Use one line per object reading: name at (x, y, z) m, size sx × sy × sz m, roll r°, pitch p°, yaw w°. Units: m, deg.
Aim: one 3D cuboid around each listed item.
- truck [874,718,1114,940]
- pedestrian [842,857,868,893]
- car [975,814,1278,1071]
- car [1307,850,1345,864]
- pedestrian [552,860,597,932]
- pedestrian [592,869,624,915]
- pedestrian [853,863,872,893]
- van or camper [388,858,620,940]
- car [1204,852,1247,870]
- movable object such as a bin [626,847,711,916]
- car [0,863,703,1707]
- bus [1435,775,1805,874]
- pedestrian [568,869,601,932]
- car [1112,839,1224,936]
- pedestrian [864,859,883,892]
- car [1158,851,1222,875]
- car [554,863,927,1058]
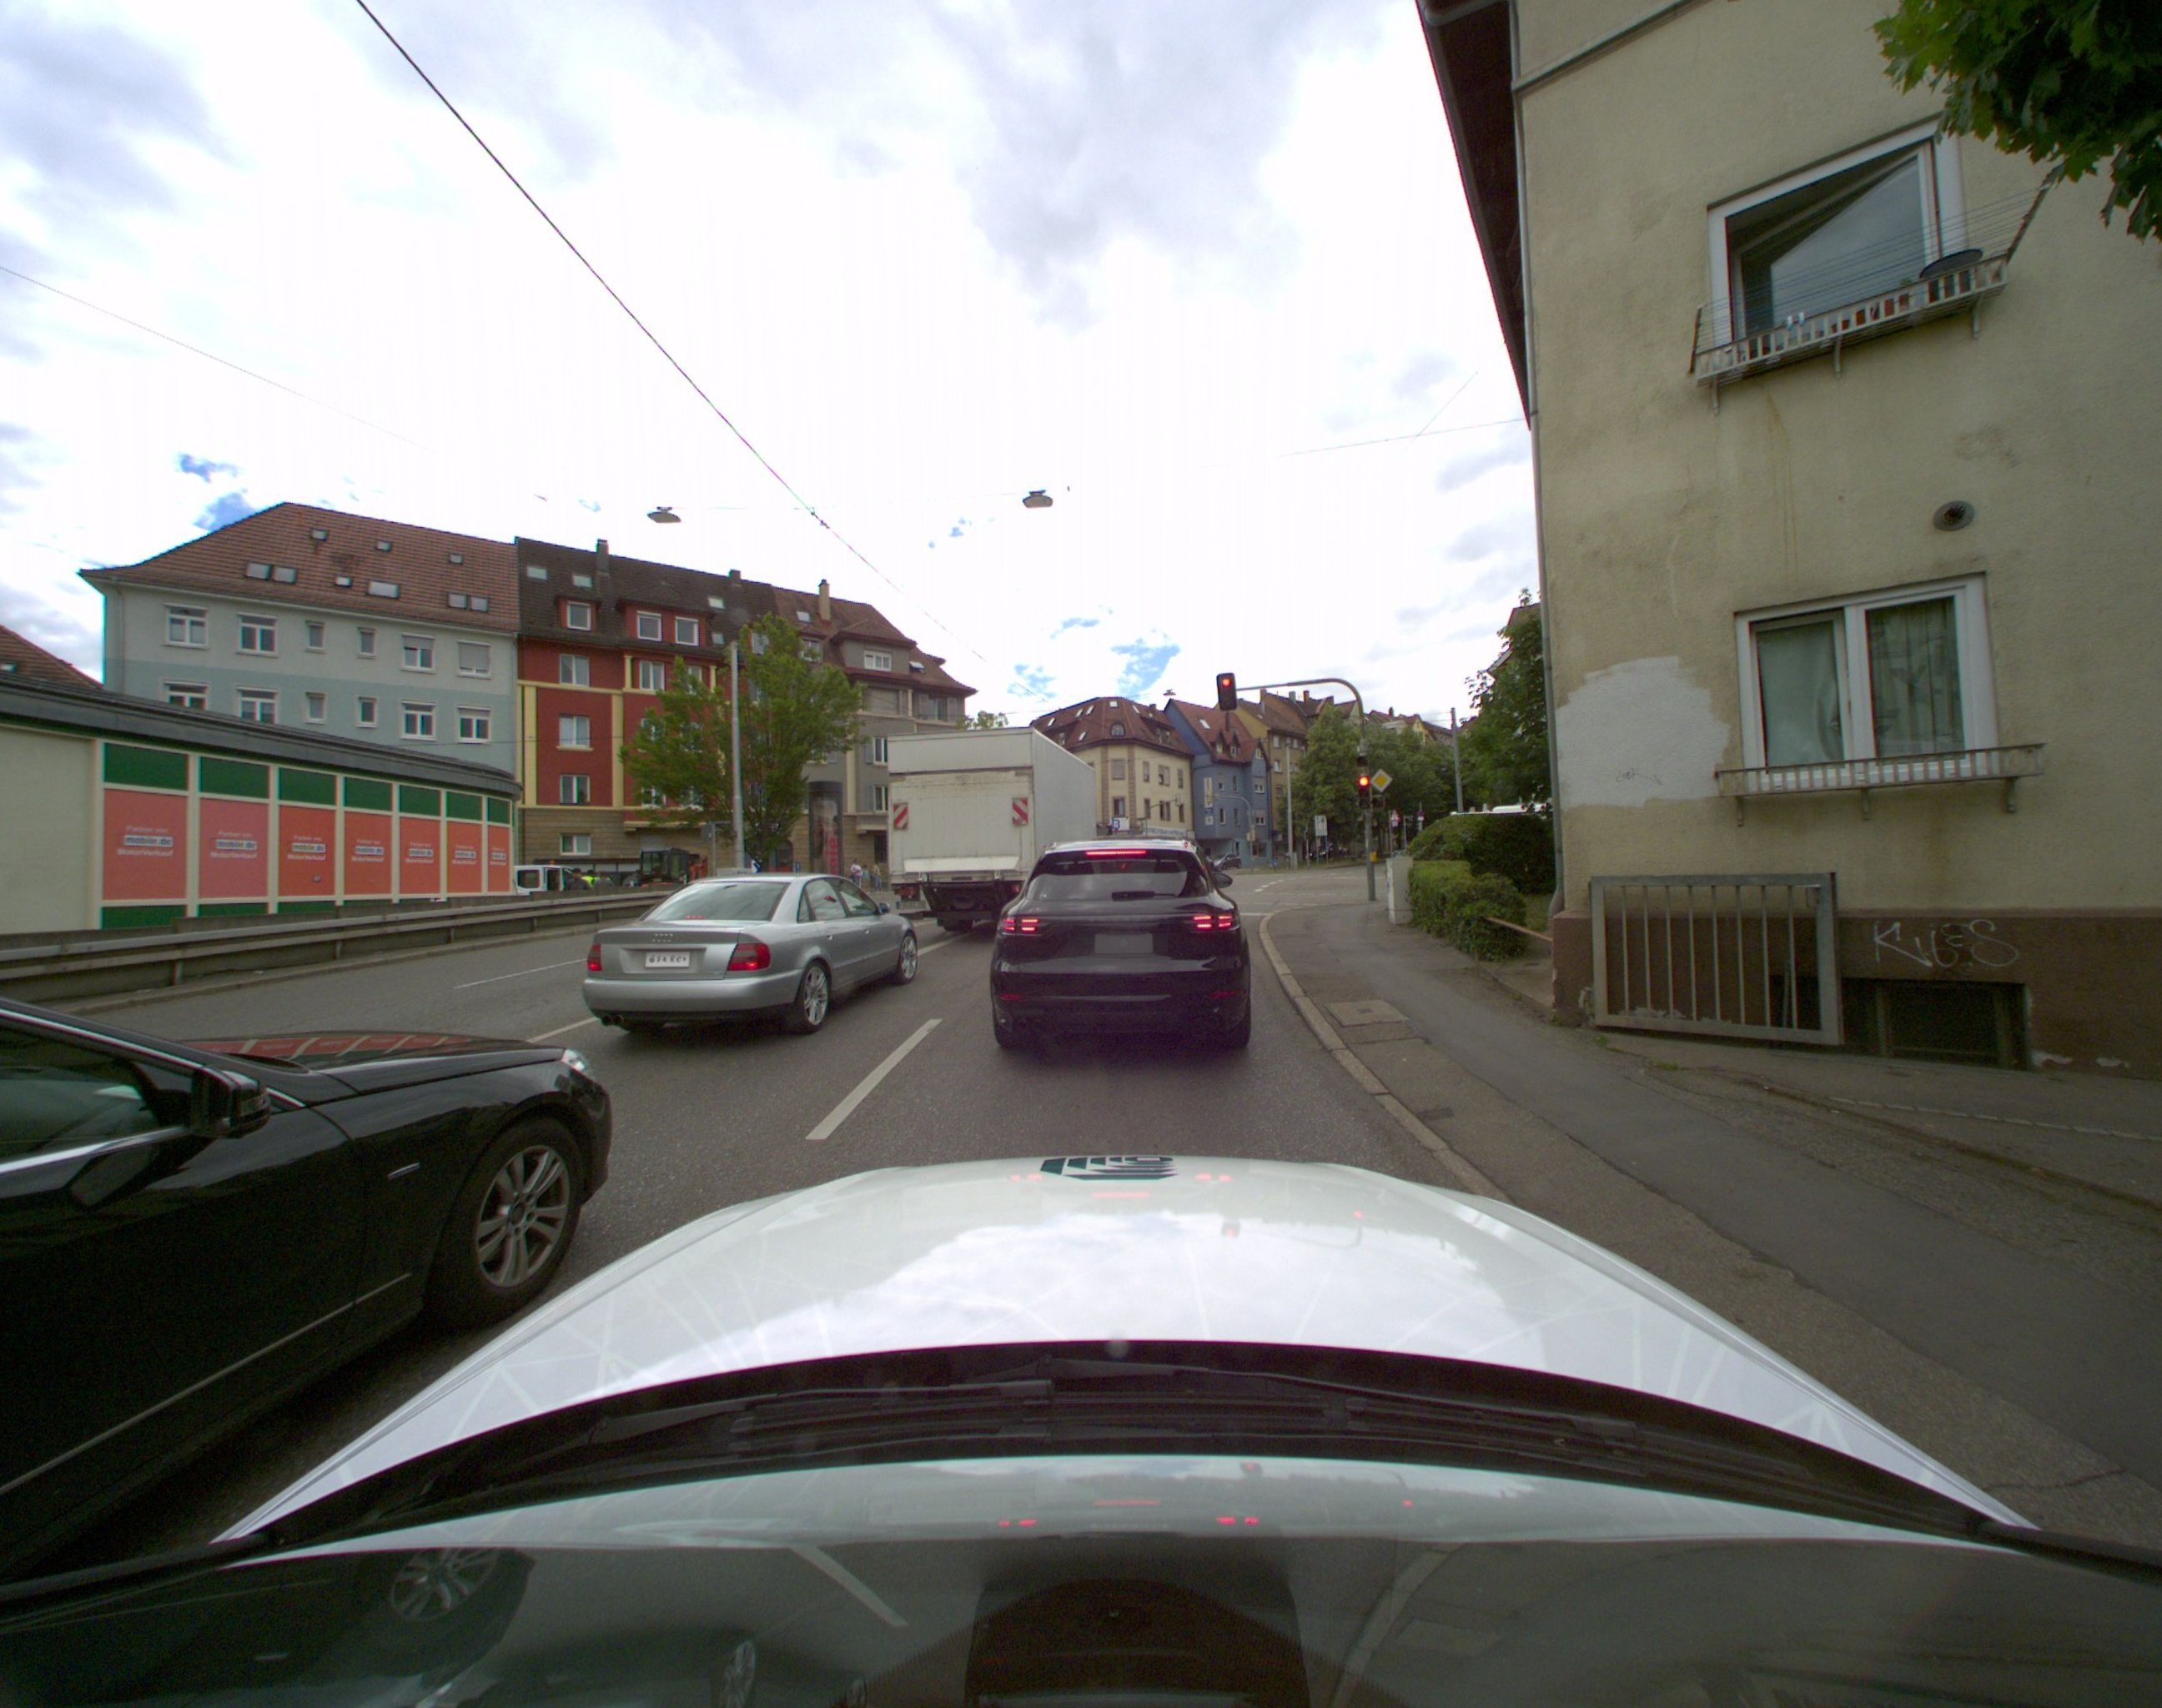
truck at (-1.286, -0.402, 17.507) m, size 2.708 × 3.544 × 8.446 m, roll -2°, pitch 0°, yaw 10°
pedestrian at (-10.176, 0.945, 36.658) m, size 0.785 × 1.546 × 0.743 m, roll -2°, pitch 0°, yaw 28°
car at (0.376, 0.608, 7.743) m, size 2.024 × 1.723 × 4.502 m, roll 0°, pitch 0°, yaw 2°
car at (25.645, 0.311, 85.206) m, size 1.852 × 1.416 × 4.727 m, roll -1°, pitch -1°, yaw 43°
pedestrian at (-11.889, 0.968, 19.140) m, size 0.690 × 1.637 × 0.774 m, roll -2°, pitch 0°, yaw -19°
pedestrian at (-14.567, 1.160, 25.075) m, size 0.594 × 1.363 × 0.630 m, roll -2°, pitch 0°, yaw 35°
pedestrian at (-10.019, 1.084, 37.378) m, size 0.568 × 1.338 × 0.588 m, roll -2°, pitch 0°, yaw 36°
van or camper at (-18.985, 1.378, 27.253) m, size 6.028 × 2.338 × 2.661 m, roll -1°, pitch 0°, yaw -33°
car at (12.704, 0.605, 71.290) m, size 1.700 × 1.477 × 4.244 m, roll -2°, pitch -3°, yaw 42°
movable object such as a bin at (-13.144, 0.834, 26.144) m, size 1.375 × 2.013 × 3.524 m, roll -2°, pitch 0°, yaw -10°
car at (-2.865, 0.795, 1.409) m, size 1.986 × 1.429 × 4.844 m, roll -2°, pitch 0°, yaw 2°
bus at (20.795, -0.891, 32.787) m, size 3.181 × 3.096 × 12.018 m, roll -2°, pitch -1°, yaw -35°
pedestrian at (-16.323, 1.506, 26.763) m, size 0.828 × 2.013 × 0.674 m, roll -1°, pitch 0°, yaw -26°
car at (1.701, 0.553, 14.888) m, size 1.638 × 1.556 × 3.595 m, roll -1°, pitch -1°, yaw 12°
pedestrian at (-9.650, 0.978, 37.851) m, size 0.657 × 1.487 × 0.517 m, roll -2°, pitch 0°, yaw -40°
car at (7.112, 0.554, 53.277) m, size 2.008 × 1.530 × 3.957 m, roll 0°, pitch 0°, yaw -35°
car at (-2.977, 0.837, 8.199) m, size 1.620 × 1.365 × 4.135 m, roll -2°, pitch 0°, yaw 6°
